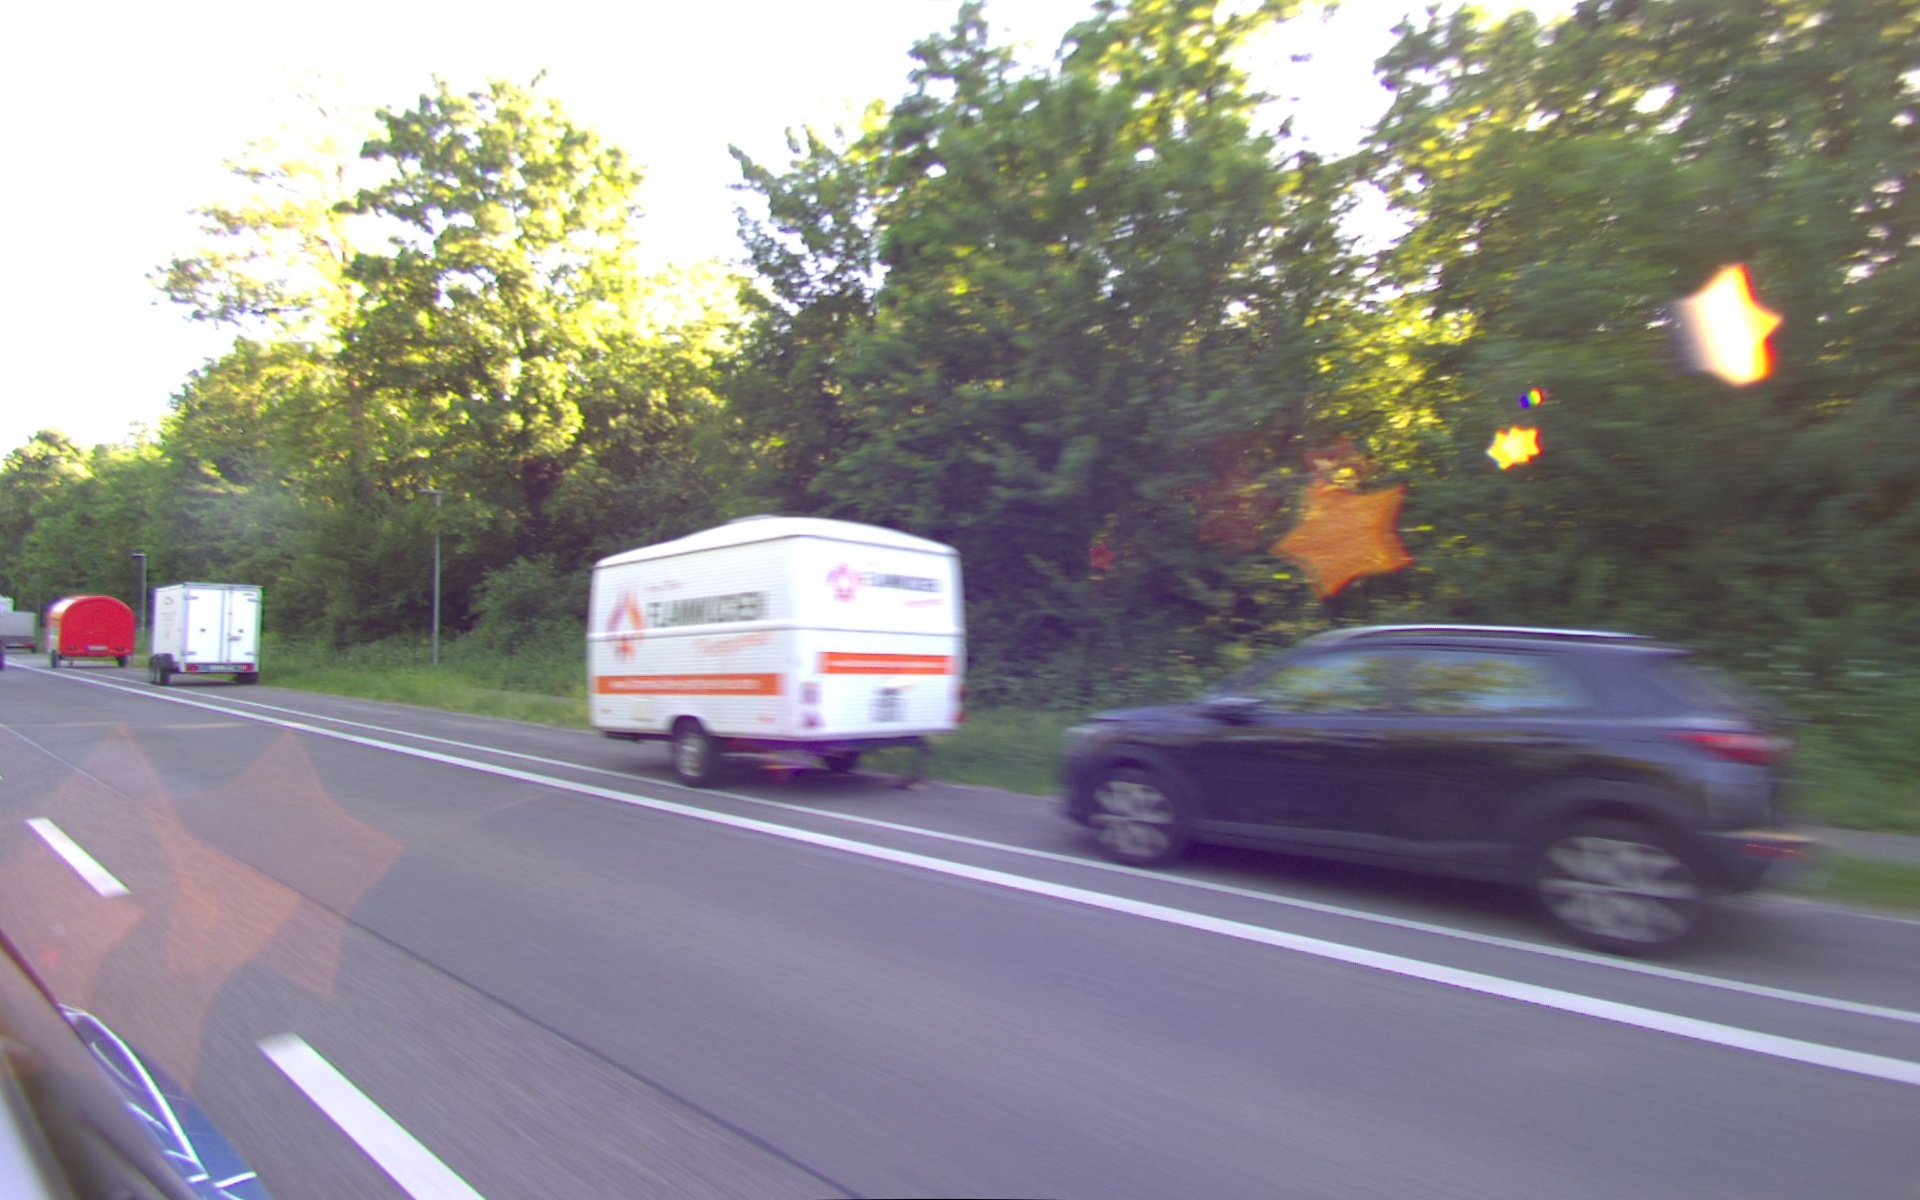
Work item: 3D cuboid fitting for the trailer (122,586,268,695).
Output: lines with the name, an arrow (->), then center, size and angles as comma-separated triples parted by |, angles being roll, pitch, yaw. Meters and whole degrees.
trailer -> -19.055, 0.977, 25.186 | 3.556, 2.499, 2.046 | -1, -2, 38

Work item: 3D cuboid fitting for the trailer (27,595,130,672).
trailer -> -30.563, 1.147, 35.064 | 3.556, 2.499, 2.046 | -1, -2, 38

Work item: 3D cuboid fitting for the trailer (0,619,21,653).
trailer -> -58.274, 2.161, 60.607 | 6.261, 1.929, 2.403 | -2, -1, 41

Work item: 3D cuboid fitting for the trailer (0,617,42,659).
trailer -> -48.130, 1.911, 51.388 | 3.560, 2.029, 1.833 | -1, -4, 42

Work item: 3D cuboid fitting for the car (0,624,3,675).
car -> -31.500, 1.519, 31.695 | 4.528, 1.544, 1.800 | -1, -2, 41

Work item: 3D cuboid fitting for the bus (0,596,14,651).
bus -> -64.798, 1.533, 66.484 | 11.195, 3.456, 2.798 | -1, 0, 41

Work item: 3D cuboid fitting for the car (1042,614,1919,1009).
car -> 2.666, 0.883, 5.904 | 4.193, 1.506, 1.653 | -1, -4, 42

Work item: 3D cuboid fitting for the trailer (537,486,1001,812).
trailer -> -2.019, 0.439, 10.185 | 4.338, 2.548, 2.323 | -1, -2, 38
